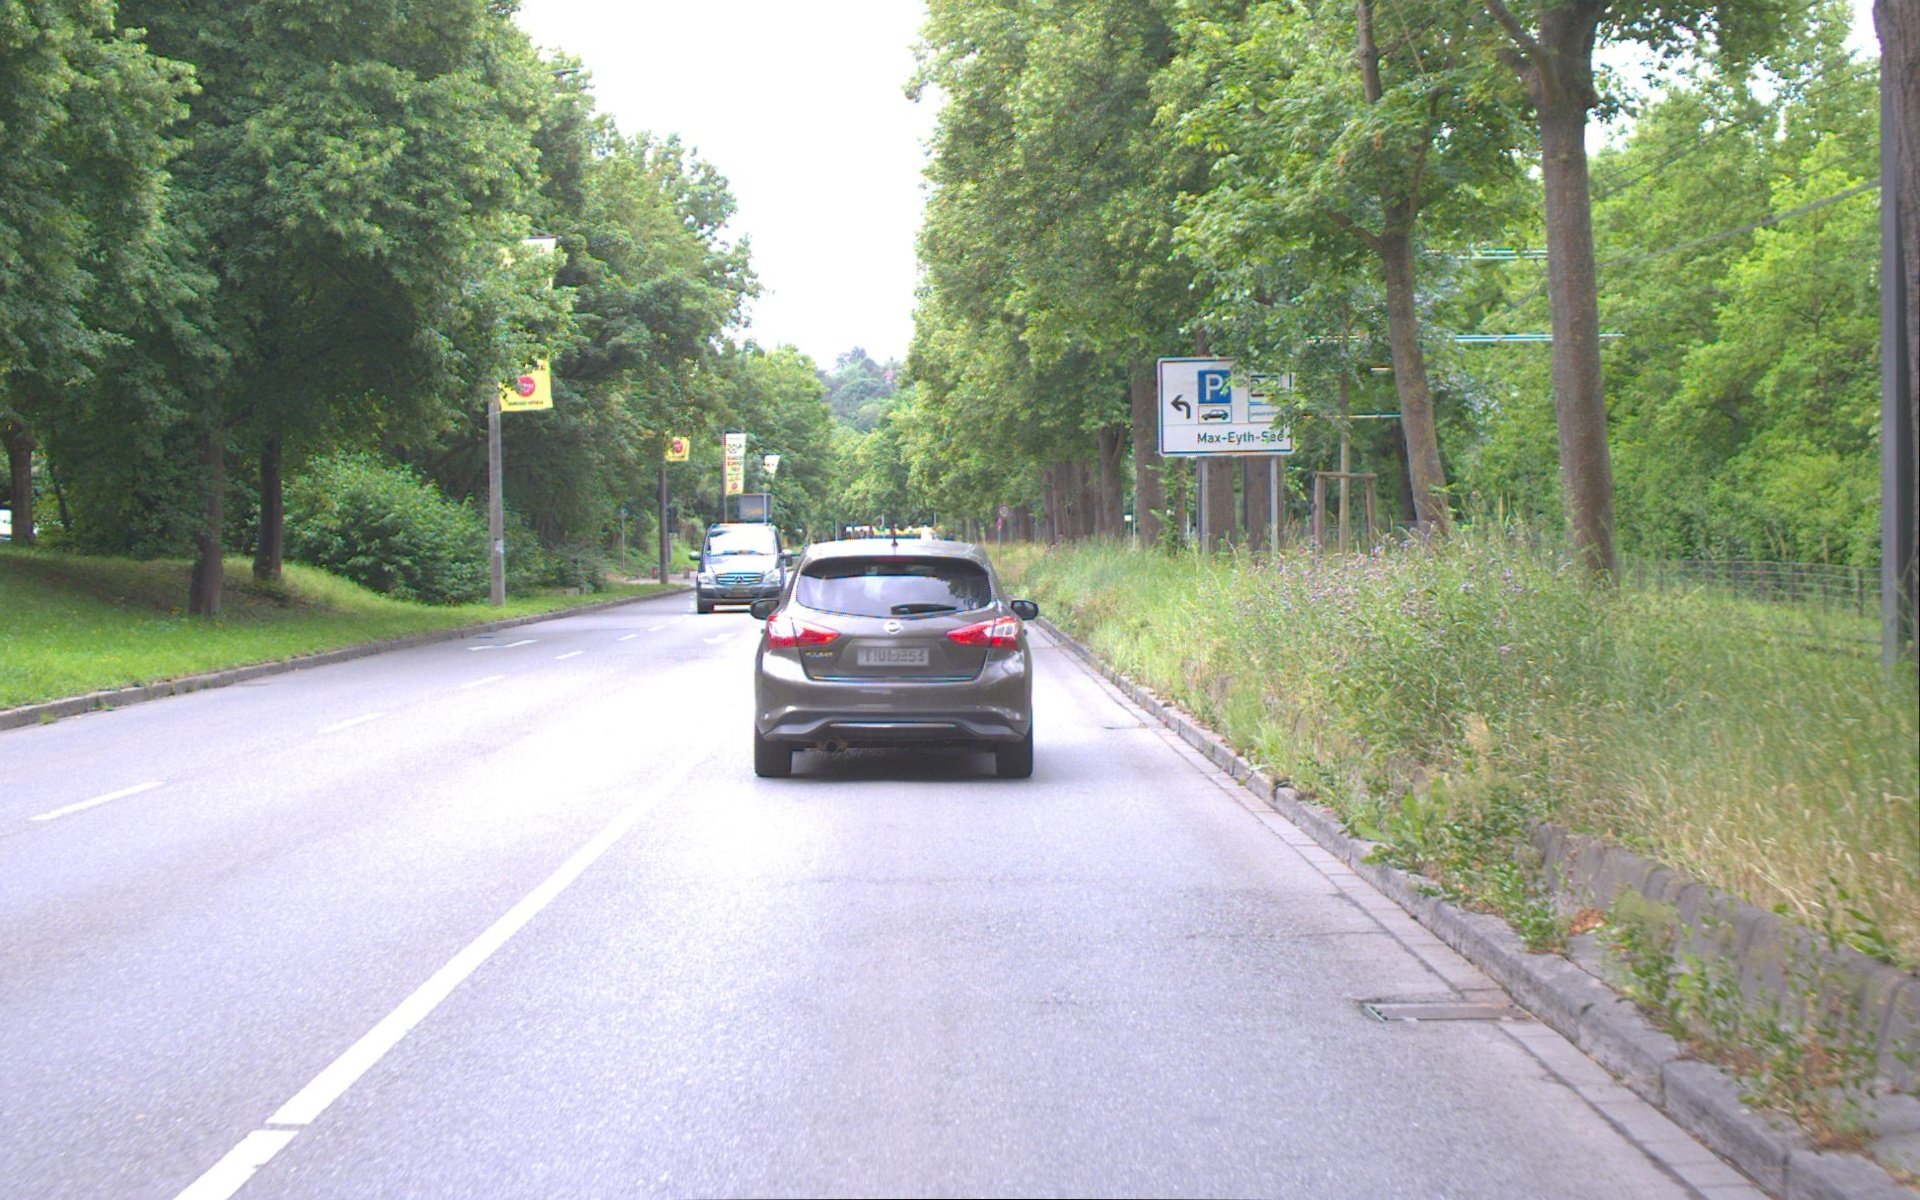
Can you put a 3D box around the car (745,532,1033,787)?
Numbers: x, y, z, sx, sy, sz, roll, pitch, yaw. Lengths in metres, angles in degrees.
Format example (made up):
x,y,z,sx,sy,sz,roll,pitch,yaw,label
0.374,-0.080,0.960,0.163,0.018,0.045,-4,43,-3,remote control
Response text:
x,y,z,sx,sy,sz,roll,pitch,yaw,label
-0.463,0.340,22.692,1.730,1.532,3.552,1,1,-1,car

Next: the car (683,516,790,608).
x,y,z,sx,sy,sz,roll,pitch,yaw,label
-4.904,-0.843,76.000,1.993,1.949,5.184,-1,1,0,car
